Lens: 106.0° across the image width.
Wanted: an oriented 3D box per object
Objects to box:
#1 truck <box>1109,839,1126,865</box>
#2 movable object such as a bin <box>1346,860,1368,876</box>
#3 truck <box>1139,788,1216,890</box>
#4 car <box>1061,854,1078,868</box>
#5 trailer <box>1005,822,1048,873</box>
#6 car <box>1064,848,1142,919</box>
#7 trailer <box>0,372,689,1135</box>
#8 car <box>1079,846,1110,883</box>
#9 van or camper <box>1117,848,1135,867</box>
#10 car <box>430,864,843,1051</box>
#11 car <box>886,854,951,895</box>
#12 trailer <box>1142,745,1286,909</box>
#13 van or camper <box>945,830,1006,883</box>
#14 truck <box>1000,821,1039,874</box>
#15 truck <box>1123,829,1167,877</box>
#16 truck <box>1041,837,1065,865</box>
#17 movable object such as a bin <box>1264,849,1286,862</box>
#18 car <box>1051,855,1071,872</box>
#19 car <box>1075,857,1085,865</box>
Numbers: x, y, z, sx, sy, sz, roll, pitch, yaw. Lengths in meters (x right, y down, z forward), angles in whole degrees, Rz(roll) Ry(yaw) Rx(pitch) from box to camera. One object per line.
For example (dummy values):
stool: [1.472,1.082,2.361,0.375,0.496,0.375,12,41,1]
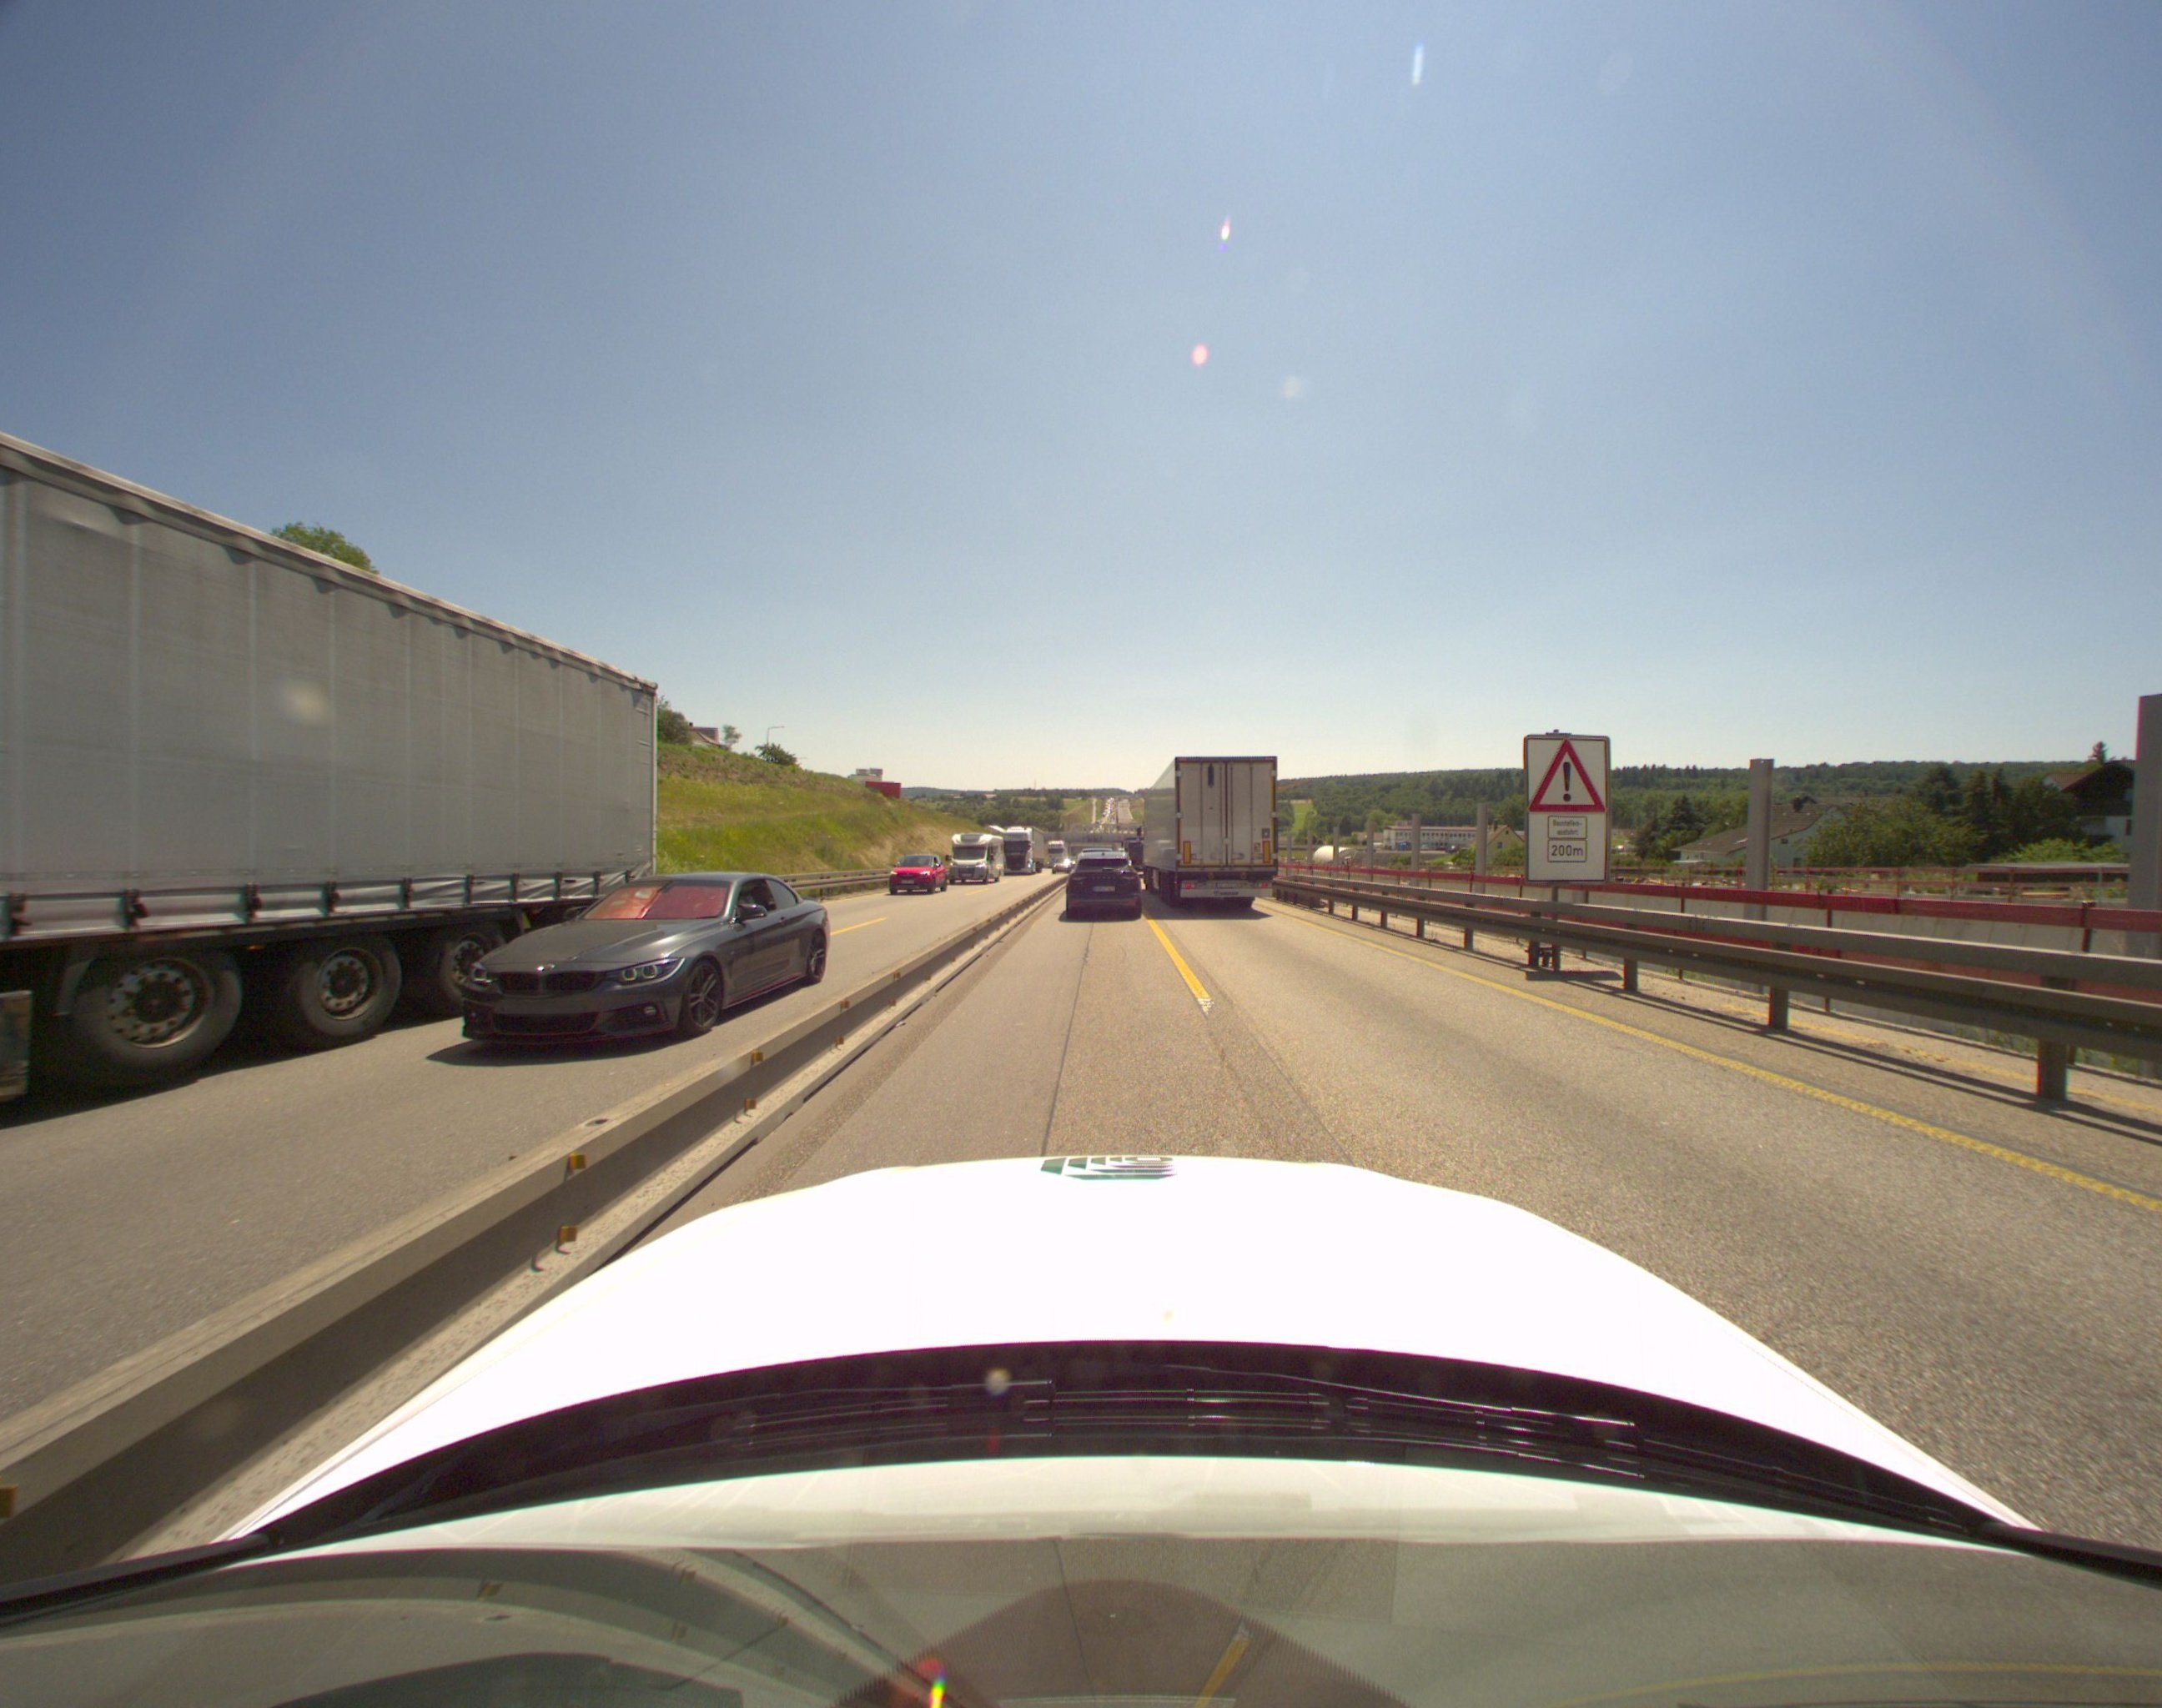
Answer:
truck: [5.748,-0.281,128.353,2.509,3.959,7.601,1,0,1]
movable object such as a bin: [40.543,2.035,119.774,1.986,2.239,4.154,0,-1,2]
truck: [4.026,-0.560,34.965,2.767,4.058,4.905,-1,-1,1]
car: [-1.328,0.784,97.049,1.842,1.586,4.175,0,0,1]
trailer: [-4.933,-0.532,76.240,2.800,4.287,14.037,0,0,1]
car: [0.584,0.670,20.329,1.793,1.620,3.300,0,0,3]
trailer: [-7.246,-0.542,5.017,2.846,4.124,13.441,0,0,1]
car: [0.712,0.516,41.126,1.469,1.795,3.300,-1,0,3]
van or camper: [5.339,0.437,97.301,1.986,2.244,4.002,1,0,2]
car: [-4.036,0.821,8.422,1.761,1.363,4.412,0,0,1]
car: [-6.598,0.771,33.470,1.710,1.552,4.265,-1,0,1]
trailer: [3.845,-0.584,27.398,2.791,4.058,14.119,-1,-1,1]
van or camper: [-5.892,0.143,46.460,2.326,2.777,7.518,-1,0,1]
truck: [-5.100,-0.529,68.392,2.764,4.287,4.677,0,0,1]
truck: [4.612,-0.003,60.732,2.803,3.135,12.844,-1,-1,2]
truck: [-4.218,-0.485,123.371,3.227,4.160,4.248,-1,-1,1]
movable object such as a bin: [42.953,0.364,180.567,2.876,2.909,9.484,0,0,2]
car: [-1.782,0.848,73.147,1.623,1.479,3.380,0,0,1]
car: [-0.223,1.389,161.427,1.805,1.638,4.364,-1,0,2]
